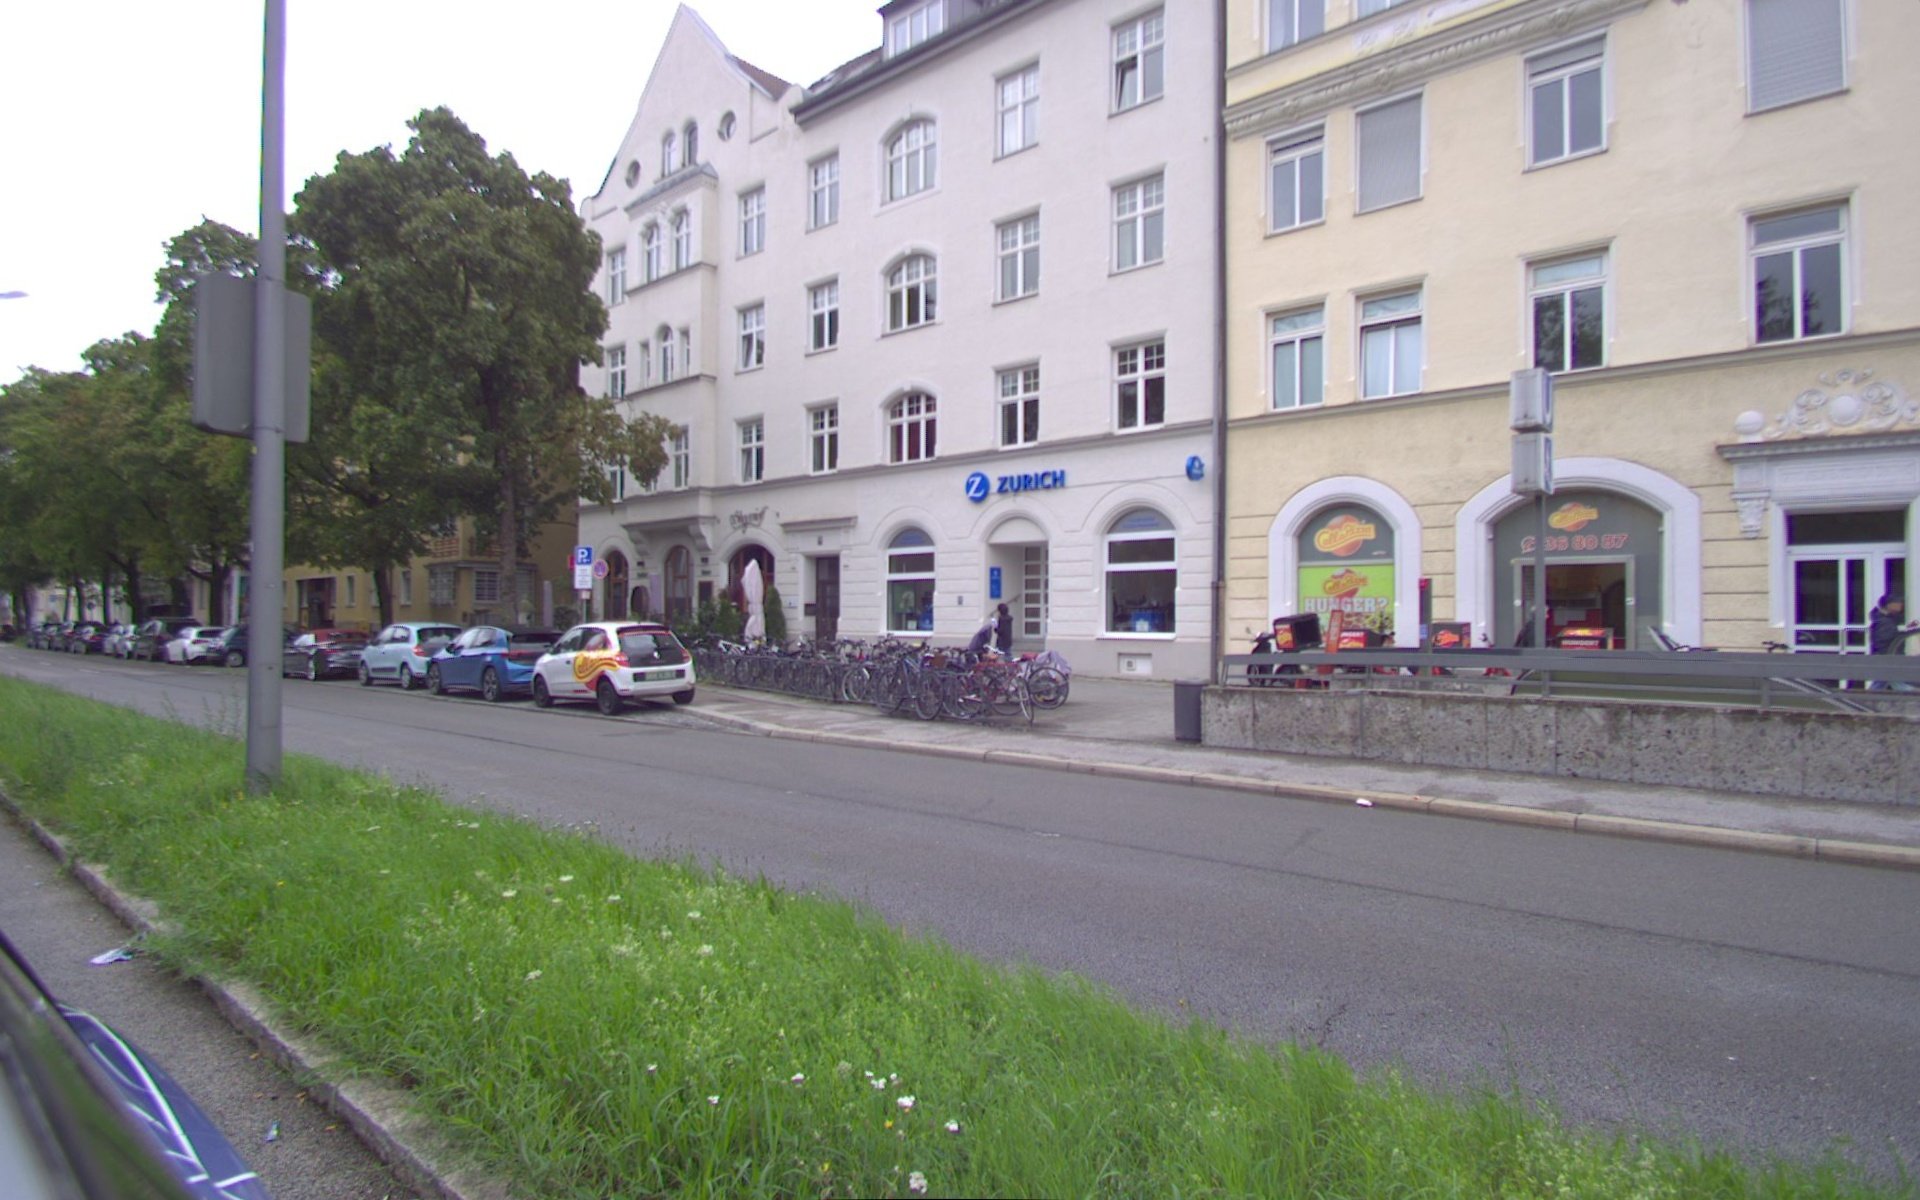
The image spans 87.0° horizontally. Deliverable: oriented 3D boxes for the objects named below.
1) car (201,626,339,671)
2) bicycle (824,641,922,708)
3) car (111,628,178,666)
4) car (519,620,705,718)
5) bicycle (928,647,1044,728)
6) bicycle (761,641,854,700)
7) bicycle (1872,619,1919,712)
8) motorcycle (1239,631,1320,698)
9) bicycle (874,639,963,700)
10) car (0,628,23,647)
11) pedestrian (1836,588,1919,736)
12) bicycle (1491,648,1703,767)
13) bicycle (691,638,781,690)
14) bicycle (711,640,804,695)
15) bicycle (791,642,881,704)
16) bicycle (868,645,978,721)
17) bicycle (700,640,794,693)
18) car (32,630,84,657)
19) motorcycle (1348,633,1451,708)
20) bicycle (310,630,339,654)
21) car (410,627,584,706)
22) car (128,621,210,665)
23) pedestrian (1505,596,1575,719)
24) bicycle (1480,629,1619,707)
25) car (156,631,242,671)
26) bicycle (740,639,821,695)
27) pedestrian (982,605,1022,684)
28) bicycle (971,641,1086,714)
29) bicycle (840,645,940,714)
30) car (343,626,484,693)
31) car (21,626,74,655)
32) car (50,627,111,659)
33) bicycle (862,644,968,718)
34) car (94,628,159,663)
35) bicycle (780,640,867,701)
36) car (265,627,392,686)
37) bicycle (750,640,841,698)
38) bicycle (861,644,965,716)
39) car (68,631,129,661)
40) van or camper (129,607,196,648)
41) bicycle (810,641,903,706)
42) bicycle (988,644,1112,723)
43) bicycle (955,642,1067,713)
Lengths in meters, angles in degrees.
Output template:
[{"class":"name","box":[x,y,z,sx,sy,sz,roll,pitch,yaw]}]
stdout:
[{"class":"car","box":[-25.093,1.725,36.902,1.730,1.475,3.851,-1,-1,39]},{"class":"bicycle","box":[-1.511,1.269,17.475,1.667,1.124,0.380,-1,-2,18]},{"class":"car","box":[-36.125,2.053,44.820,3.007,1.569,1.710,-1,-2,39]},{"class":"car","box":[-6.428,1.178,18.508,3.790,1.597,1.631,-1,-2,43]},{"class":"bicycle","box":[0.373,1.255,14.680,1.667,1.124,0.328,-1,-2,18]},{"class":"bicycle","box":[-2.995,1.373,19.809,1.859,1.124,0.328,-1,-2,18]},{"class":"bicycle","box":[10.668,0.692,10.655,1.544,0.988,0.468,-1,-2,41]},{"class":"motorcycle","box":[5.884,1.157,18.752,0.600,1.139,1.991,0,-1,-9]},{"class":"bicycle","box":[-0.796,1.301,19.160,1.667,1.124,0.328,-1,-2,18]},{"class":"car","box":[-72.405,2.804,74.985,3.935,1.386,1.866,-1,-2,-10]},{"class":"pedestrian","box":[11.146,0.725,12.111,0.945,1.710,0.585,-1,-2,39]},{"class":"bicycle","box":[6.528,1.067,10.458,1.808,1.124,0.392,-1,-2,33]},{"class":"bicycle","box":[-5.008,1.426,22.664,1.944,1.124,0.457,-1,-1,10]},{"class":"bicycle","box":[-4.300,1.426,21.502,1.860,1.124,0.548,-1,-1,10]},{"class":"bicycle","box":[-2.297,1.335,18.709,1.667,1.124,0.328,-1,-2,18]},{"class":"bicycle","box":[-0.568,1.255,15.498,1.667,1.124,0.366,-1,-2,18]},{"class":"bicycle","box":[-4.652,1.439,22.102,1.966,1.124,0.503,-1,-1,10]},{"class":"car","box":[-51.941,2.482,58.240,4.490,1.465,1.674,-1,-2,41]},{"class":"motorcycle","box":[7.345,1.149,17.014,0.600,1.130,1.991,0,-1,-9]},{"class":"bicycle","box":[-33.195,2.179,52.873,1.929,1.231,0.762,-1,-2,41]},{"class":"car","box":[-9.974,1.337,21.677,4.289,1.518,1.792,-1,-2,41]},{"class":"car","box":[-32.812,1.755,41.943,4.765,1.741,1.791,-1,-2,41]},{"class":"pedestrian","box":[8.287,0.808,14.471,0.769,1.710,0.537,-1,-2,39]},{"class":"bicycle","box":[7.895,0.889,13.605,1.544,0.988,0.468,-1,-2,41]},{"class":"car","box":[-28.667,1.886,38.099,4.401,1.413,1.708,-1,-2,41]},{"class":"bicycle","box":[-3.719,1.378,20.939,1.664,1.124,0.329,-1,-2,14]},{"class":"pedestrian","box":[0.888,0.937,21.536,0.416,1.644,0.784,1,-2,-43]},{"class":"bicycle","box":[1.089,1.222,16.142,1.799,1.124,0.394,-1,-2,18]},{"class":"bicycle","box":[-1.182,1.324,16.981,1.667,1.124,0.328,-1,-2,18]},{"class":"car","box":[-13.467,1.397,24.875,3.958,1.518,1.792,-1,-2,41]},{"class":"car","box":[-55.729,2.432,61.792,4.436,1.699,1.854,-1,-2,41]},{"class":"car","box":[-47.470,2.288,54.612,4.768,1.658,1.859,-1,-2,41]},{"class":"bicycle","box":[-0.720,1.262,15.960,1.667,1.124,0.328,-1,-2,18]},{"class":"car","box":[-39.210,2.099,47.573,4.055,1.573,1.709,-1,-2,41]},{"class":"bicycle","box":[-2.601,1.329,19.246,1.667,1.124,0.328,-1,-2,18]},{"class":"car","box":[-17.895,1.541,28.595,4.643,1.518,1.792,-1,-2,41]},{"class":"bicycle","box":[-3.316,1.375,20.327,1.859,1.124,0.328,-1,-2,18]},{"class":"bicycle","box":[-0.767,1.276,16.397,1.667,1.124,0.365,-1,-2,18]},{"class":"car","box":[-43.136,2.269,50.631,4.361,1.416,1.709,-1,-2,41]},{"class":"van or camper","box":[-54.022,1.855,68.478,6.847,2.599,2.321,-1,-2,41]},{"class":"bicycle","box":[-1.861,1.303,18.077,1.667,1.124,0.328,-1,-2,18]},{"class":"bicycle","box":[1.337,1.225,15.112,1.799,1.124,0.394,-1,-2,18]},{"class":"bicycle","box":[0.831,1.256,16.696,1.799,1.124,0.394,-1,-2,18]}]
